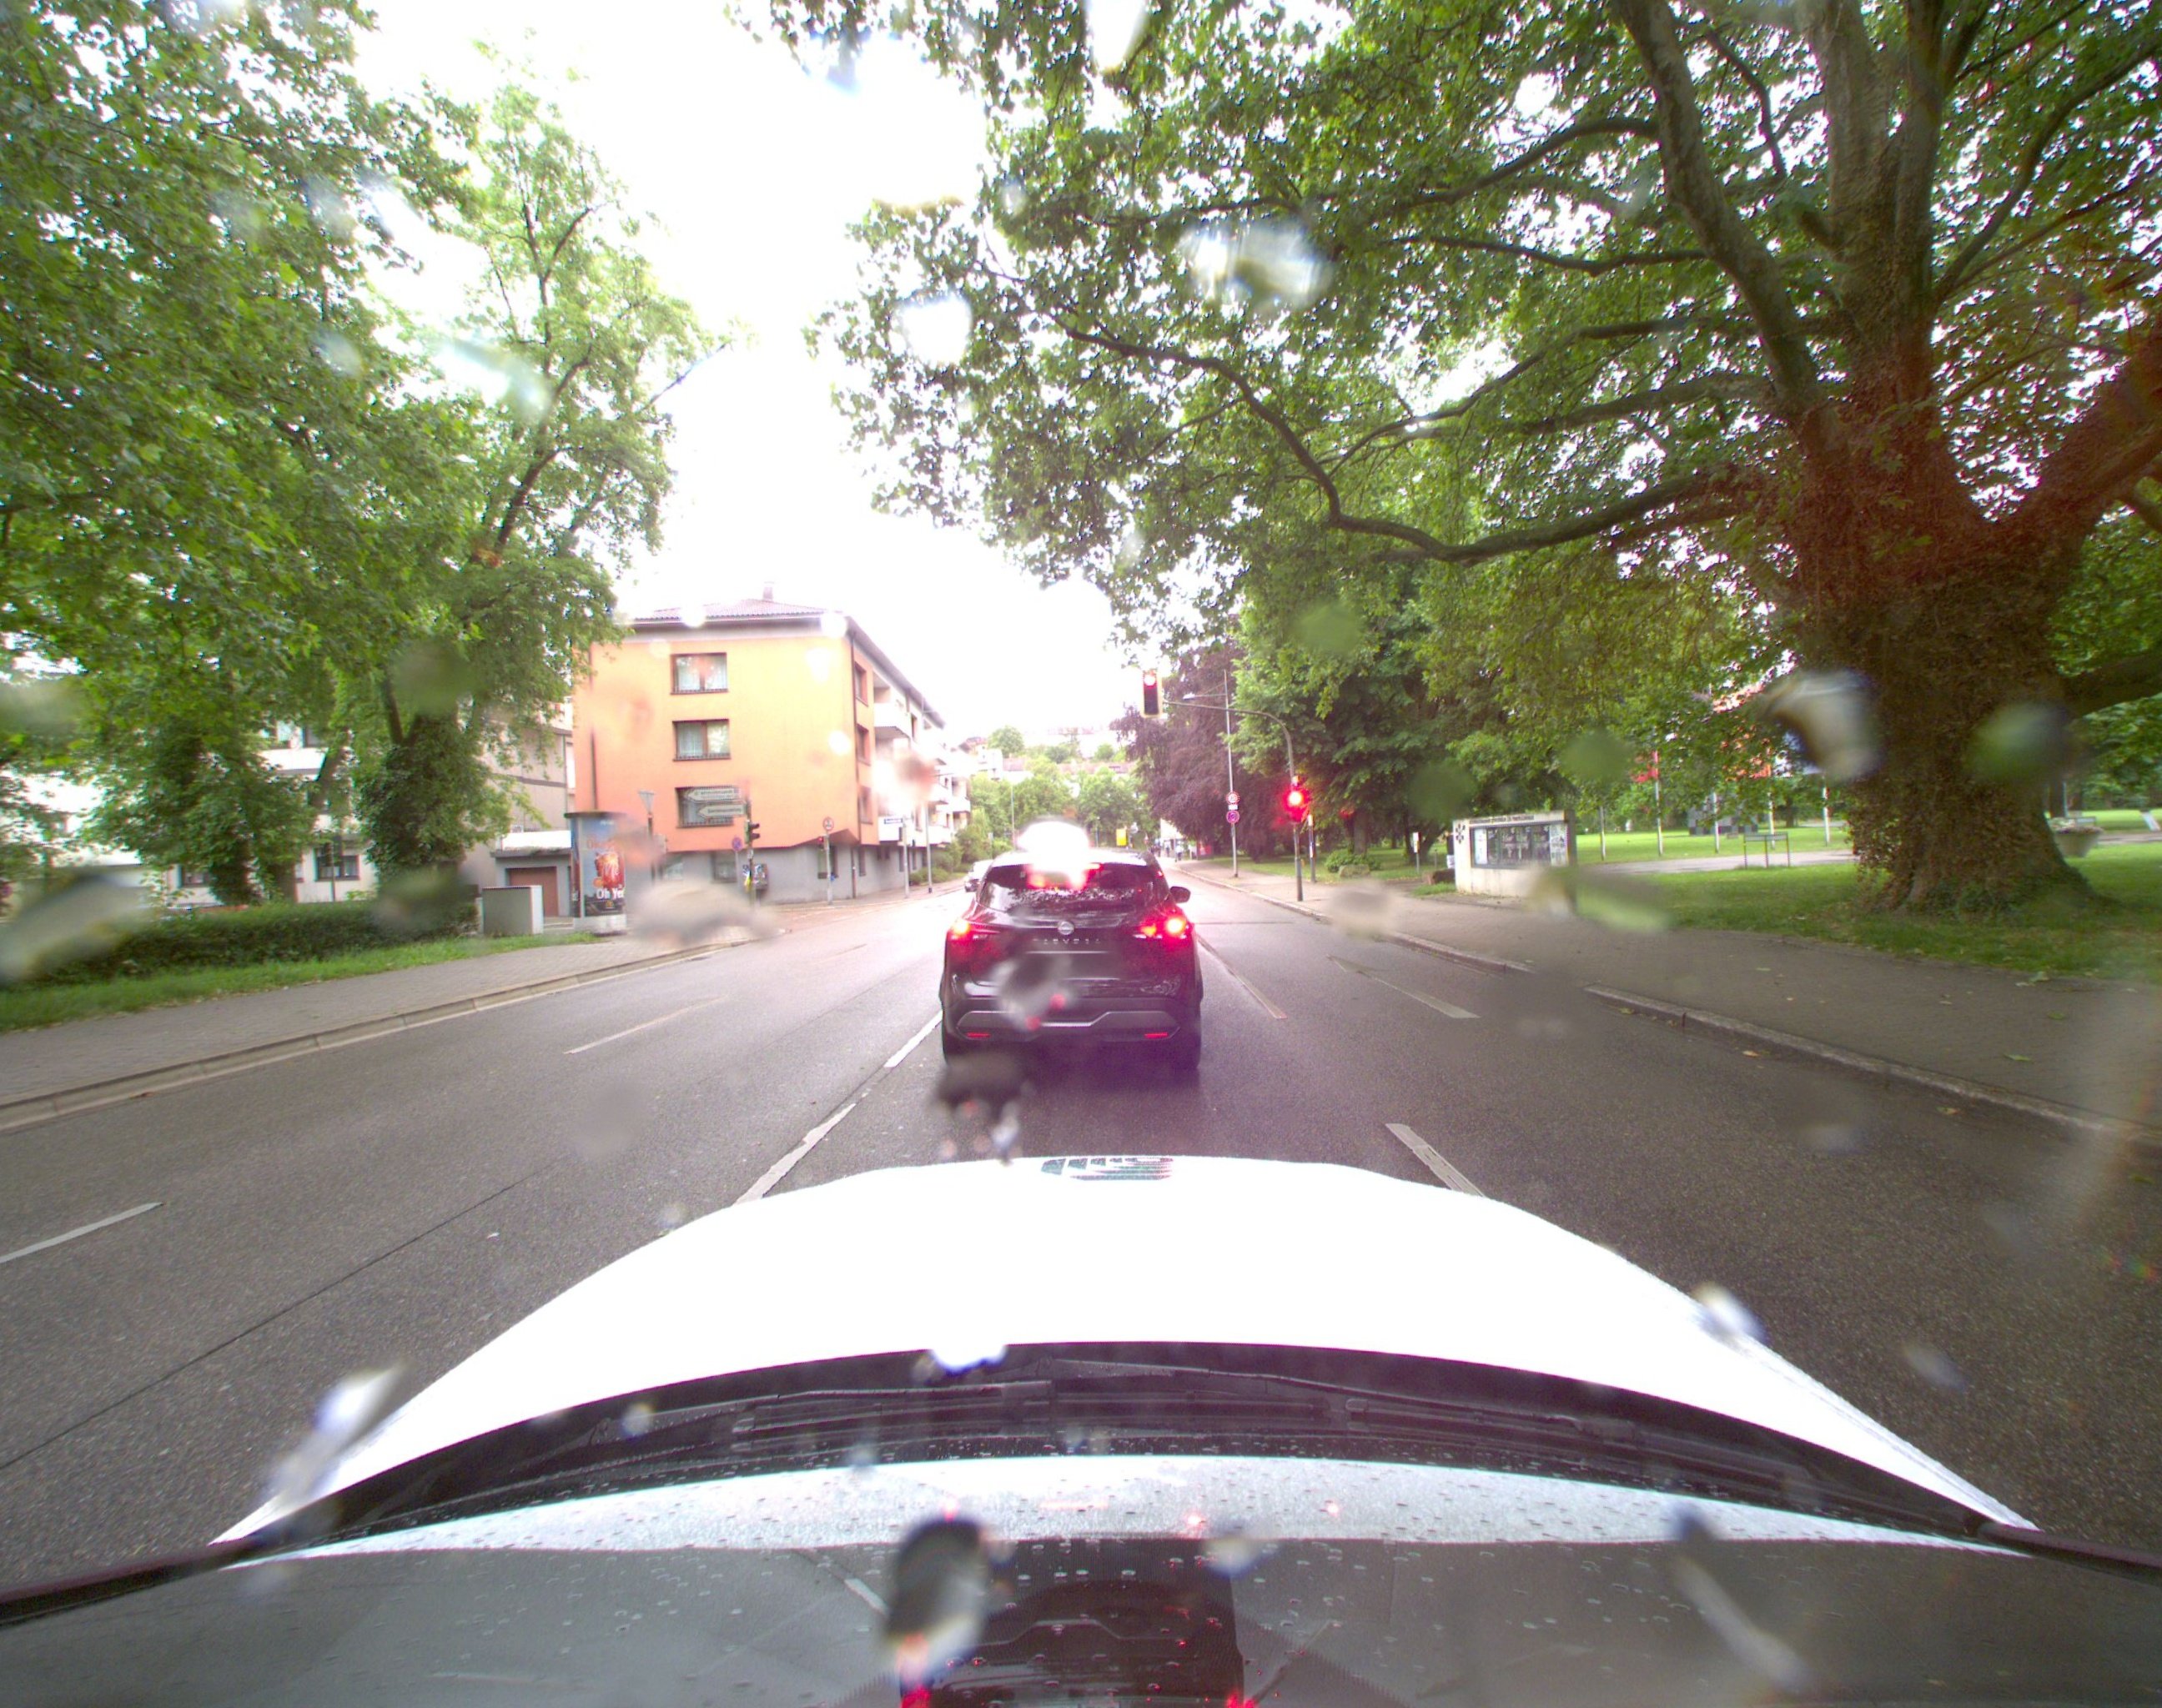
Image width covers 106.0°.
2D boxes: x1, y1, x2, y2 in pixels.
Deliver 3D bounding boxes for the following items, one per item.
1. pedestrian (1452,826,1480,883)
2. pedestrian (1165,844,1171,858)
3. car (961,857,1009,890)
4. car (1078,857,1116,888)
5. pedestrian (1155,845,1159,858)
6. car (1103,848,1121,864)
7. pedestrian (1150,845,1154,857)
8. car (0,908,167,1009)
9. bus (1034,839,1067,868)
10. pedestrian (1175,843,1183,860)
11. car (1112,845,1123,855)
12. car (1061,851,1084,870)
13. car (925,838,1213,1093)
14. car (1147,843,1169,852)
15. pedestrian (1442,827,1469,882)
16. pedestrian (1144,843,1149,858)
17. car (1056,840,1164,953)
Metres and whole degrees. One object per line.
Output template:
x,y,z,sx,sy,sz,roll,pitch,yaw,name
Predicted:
11.981,0.004,25.358,0.502,1.721,0.559,-3,0,-5,pedestrian
11.084,-0.345,103.535,0.616,1.779,0.551,-3,0,1,pedestrian
-4.791,0.966,41.218,1.802,1.417,4.031,-4,0,1,car
0.819,0.916,41.271,1.802,1.417,4.031,-2,0,1,car
10.006,-0.317,107.022,0.513,1.655,0.550,0,-1,1,pedestrian
2.967,0.212,78.792,1.618,1.415,3.456,-3,0,2,car
9.472,-0.422,108.197,0.542,1.651,0.490,0,-1,2,pedestrian
-17.998,1.737,13.819,3.182,1.524,1.507,0,-1,-1,car
-3.260,-0.032,90.956,2.756,2.974,11.786,-3,0,2,bus
10.144,-0.275,84.162,0.616,1.779,0.779,-3,0,1,pedestrian
6.155,-0.703,136.613,1.743,1.633,3.636,-3,0,2,car
-0.707,0.486,66.711,1.618,1.415,3.456,-3,0,2,car
-0.012,0.719,7.117,1.799,1.590,4.001,0,-1,2,car
15.497,-1.270,163.651,3.986,1.684,1.994,-3,0,-9,car
11.937,0.009,25.945,0.484,1.721,0.559,-3,0,-5,pedestrian
9.605,-0.553,119.039,0.764,2.183,0.712,0,-1,5,pedestrian
0.580,0.671,14.800,1.615,1.709,3.774,-3,0,3,car
